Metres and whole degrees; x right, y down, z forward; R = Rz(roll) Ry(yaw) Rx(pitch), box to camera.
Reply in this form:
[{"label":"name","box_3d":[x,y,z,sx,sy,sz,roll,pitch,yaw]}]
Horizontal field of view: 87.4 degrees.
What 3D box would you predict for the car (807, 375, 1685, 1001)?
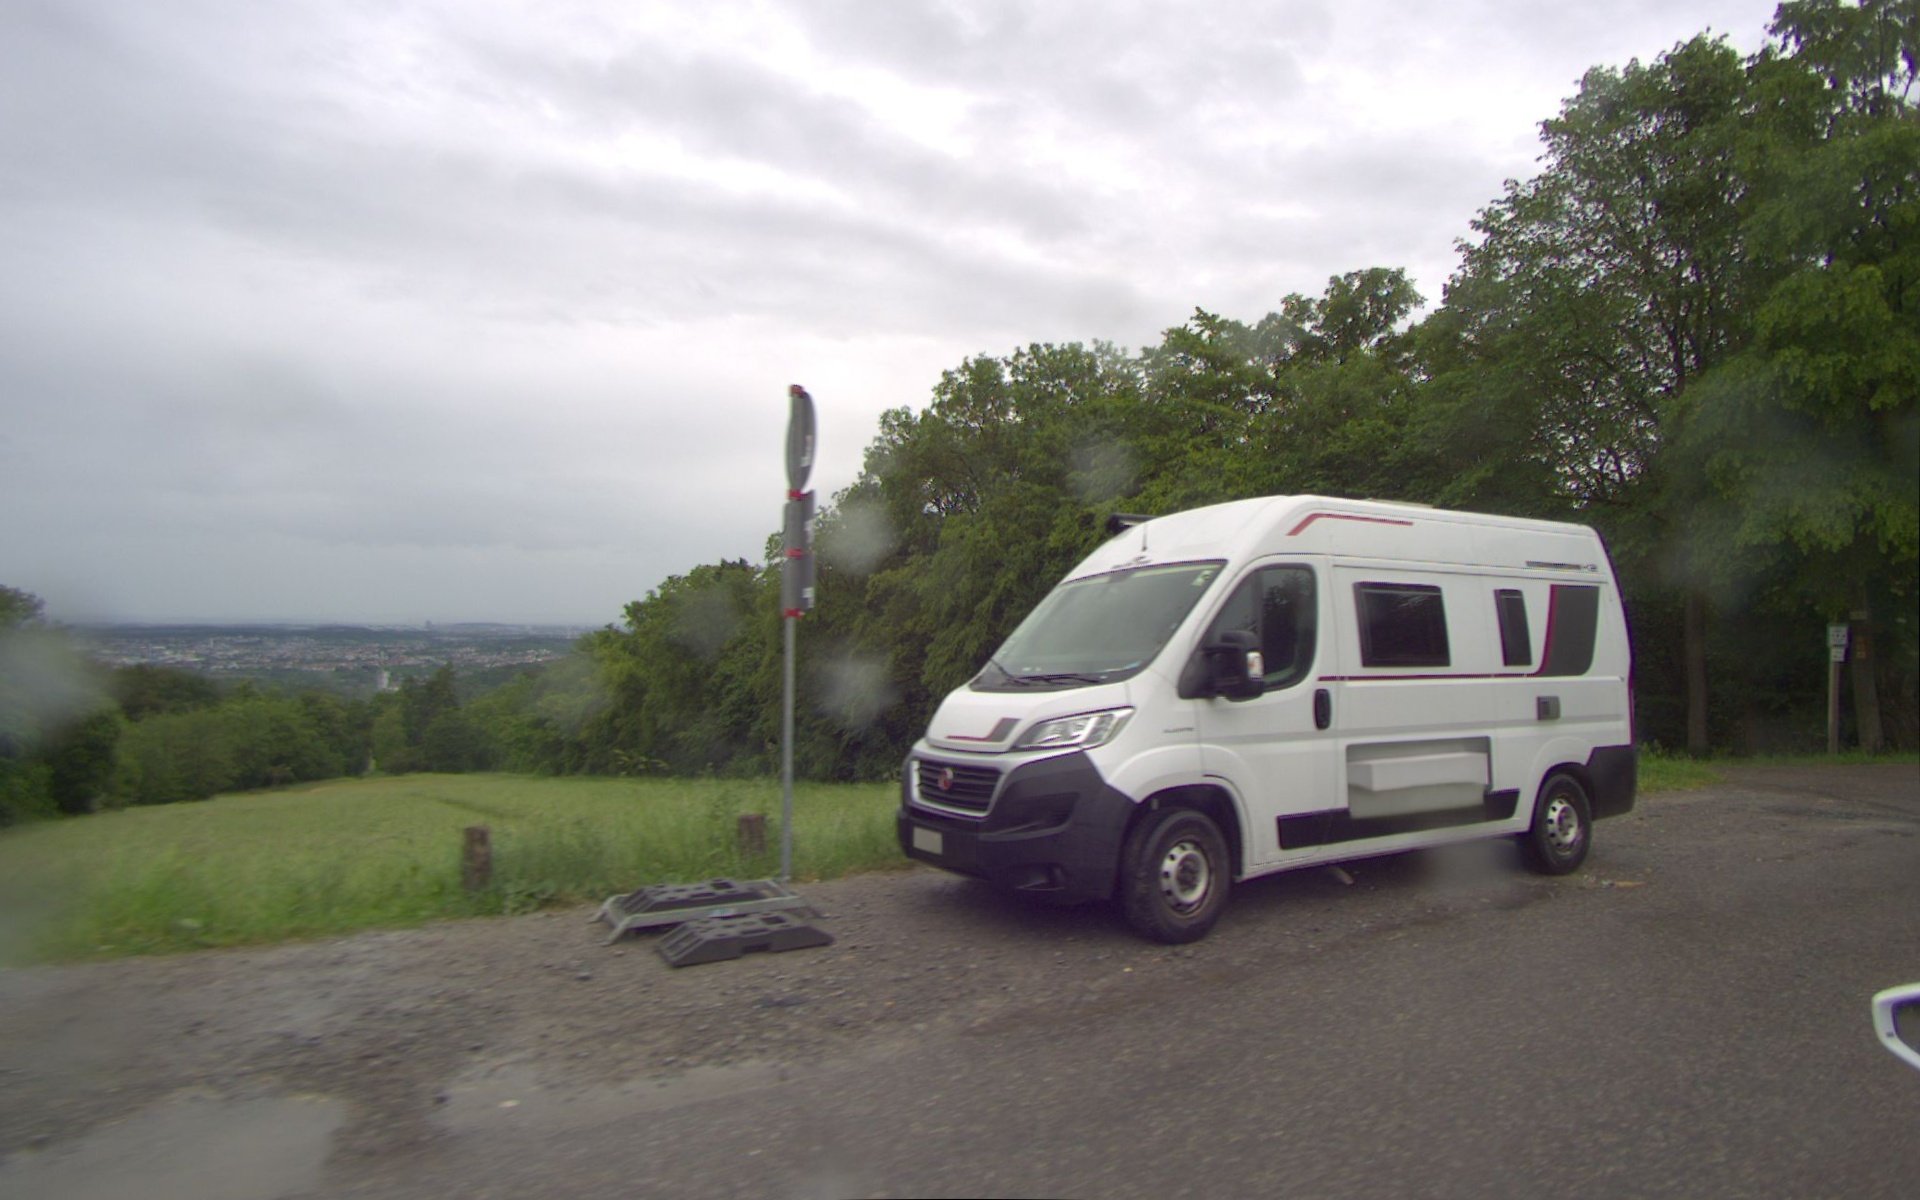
[{"label":"car","box_3d":[2.189,0.456,6.917,5.979,2.731,2.262,0,-4,-31]}]
